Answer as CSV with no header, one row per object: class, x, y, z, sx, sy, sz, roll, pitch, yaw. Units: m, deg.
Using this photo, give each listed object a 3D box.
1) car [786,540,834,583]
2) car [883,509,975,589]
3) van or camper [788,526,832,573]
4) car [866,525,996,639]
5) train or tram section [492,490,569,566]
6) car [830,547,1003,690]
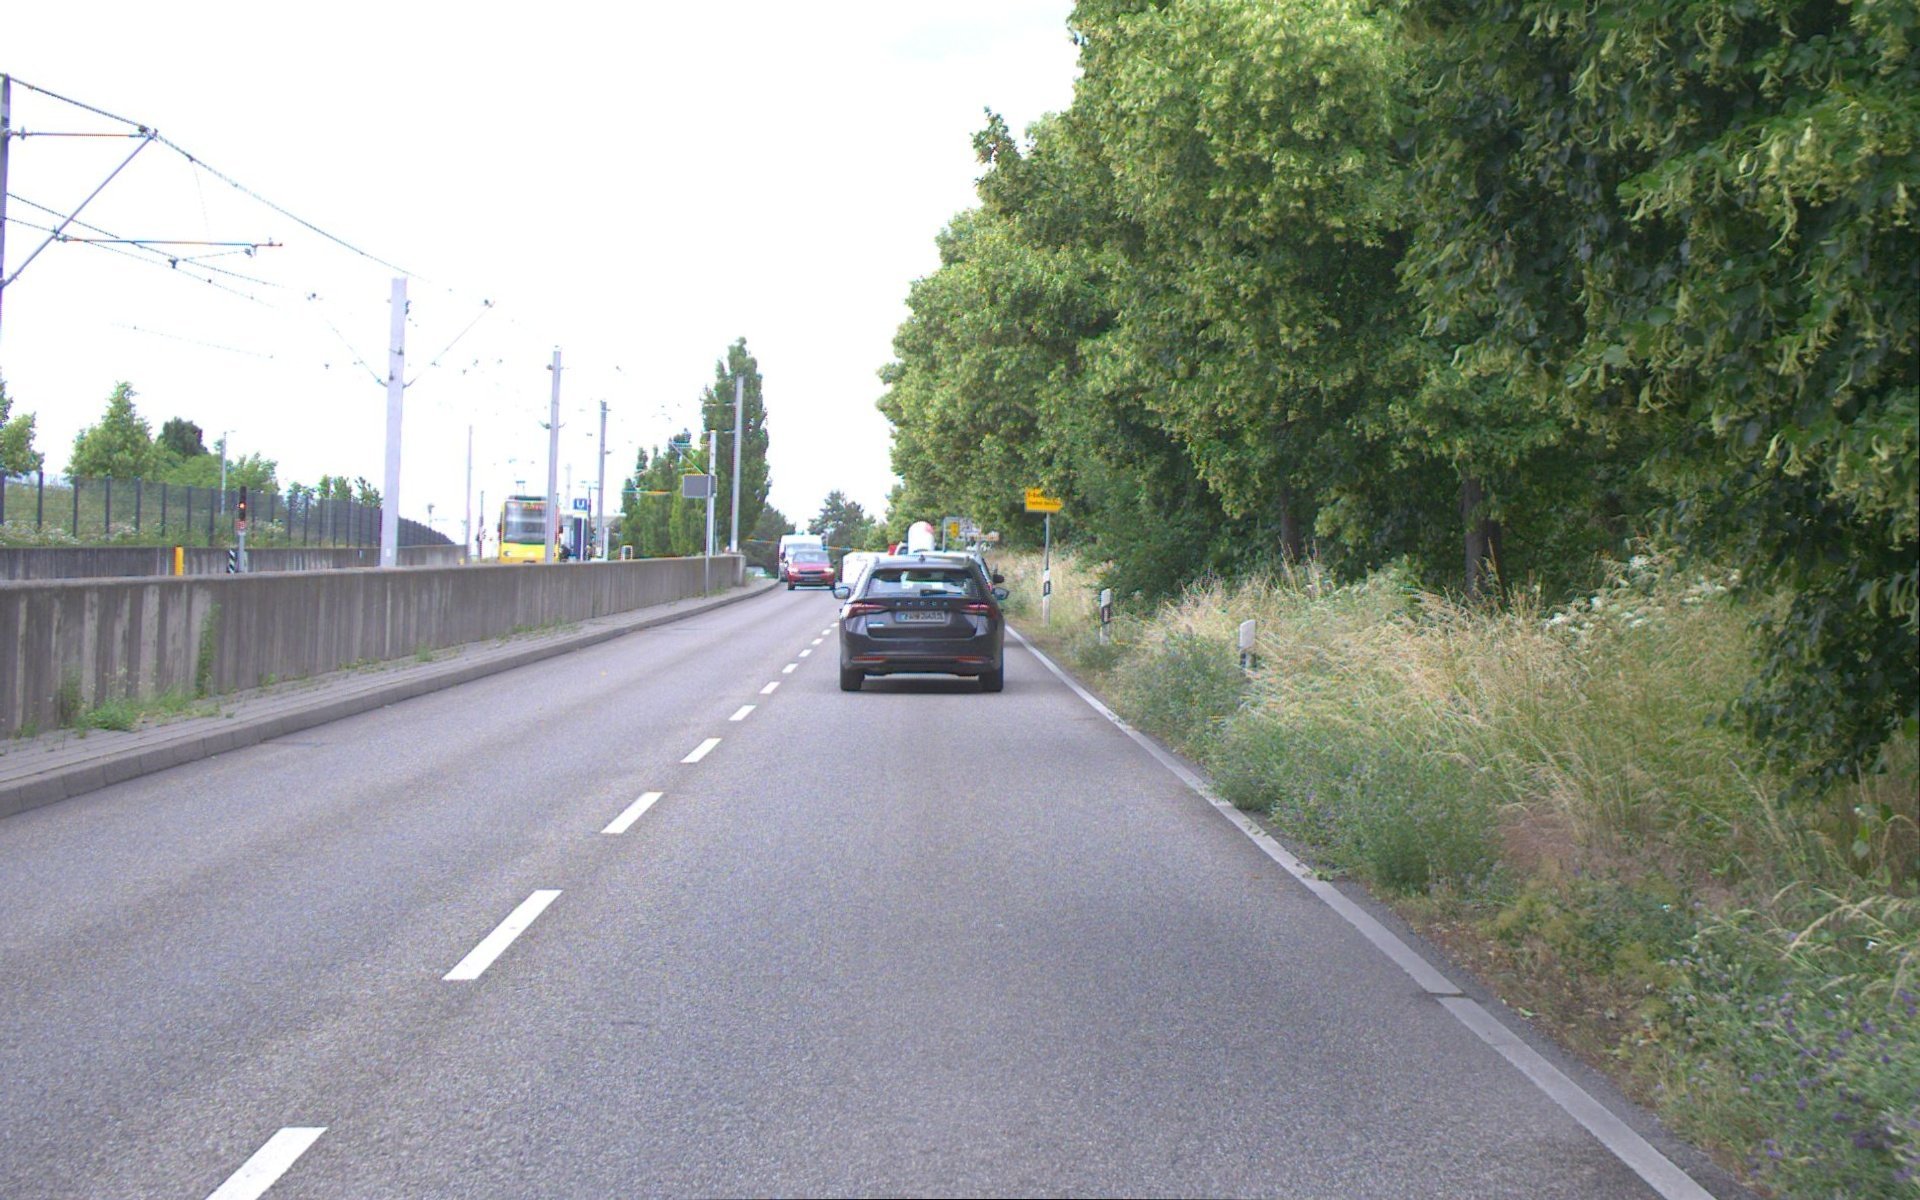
car,-5.404,-1.409,124.205,1.662,1.540,3.953,0,1,-1
car,-0.688,-1.114,76.881,1.993,1.734,4.000,0,0,-1
van or camper,-7.675,-2.593,176.369,2.082,2.388,6.137,1,1,-1
car,-0.469,-0.317,54.886,1.993,1.747,4.000,0,1,-1
train or tram section,-19.619,-3.180,156.226,2.811,3.106,18.920,0,0,-9
car,-0.474,0.156,37.625,1.781,1.463,4.000,0,1,-1
